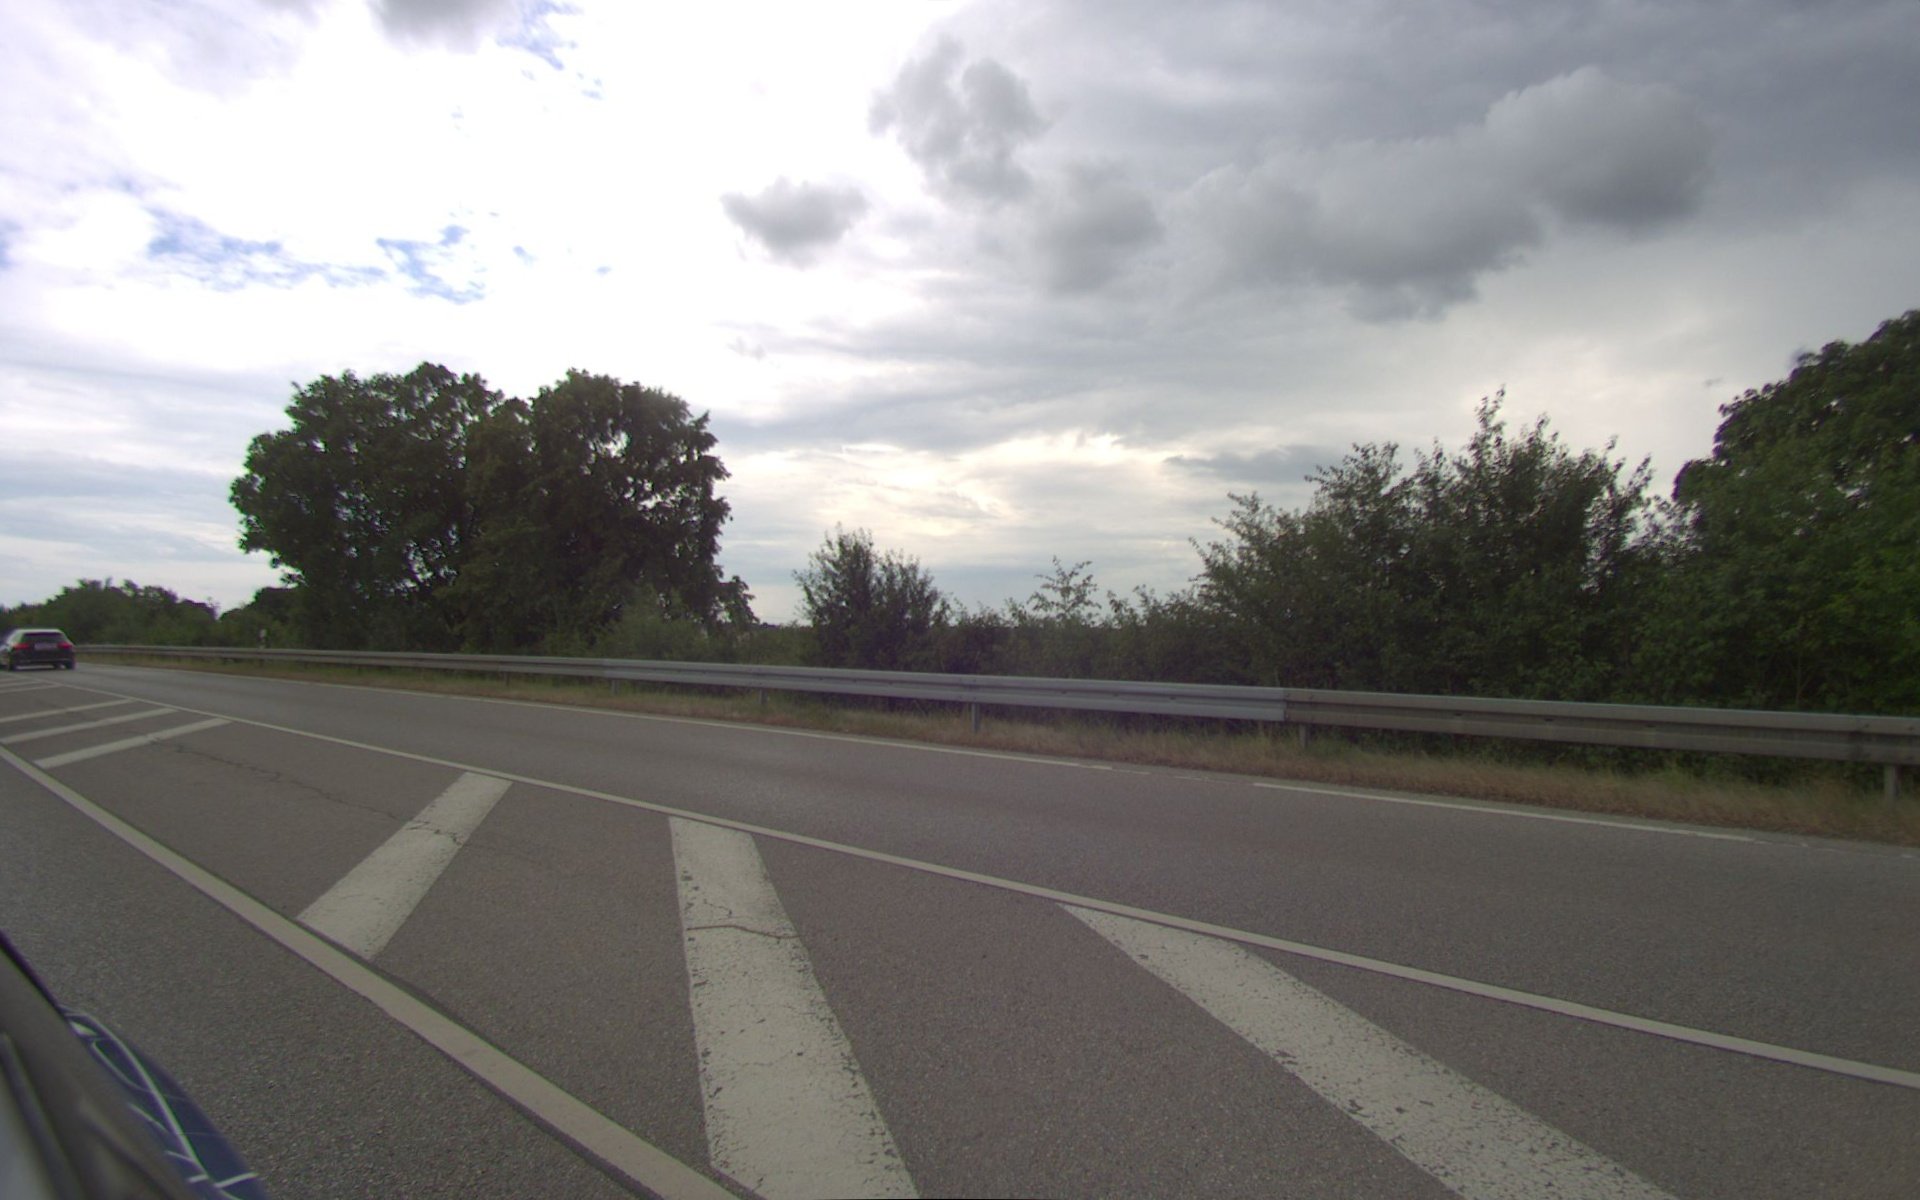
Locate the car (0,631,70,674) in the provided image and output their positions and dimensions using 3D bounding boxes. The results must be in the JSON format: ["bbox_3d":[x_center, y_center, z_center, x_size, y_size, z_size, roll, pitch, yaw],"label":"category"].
[{"bbox_3d":[-33.421,1.843,36.304,4.255,1.440,1.654,-2,-1,40],"label":"car"}]
